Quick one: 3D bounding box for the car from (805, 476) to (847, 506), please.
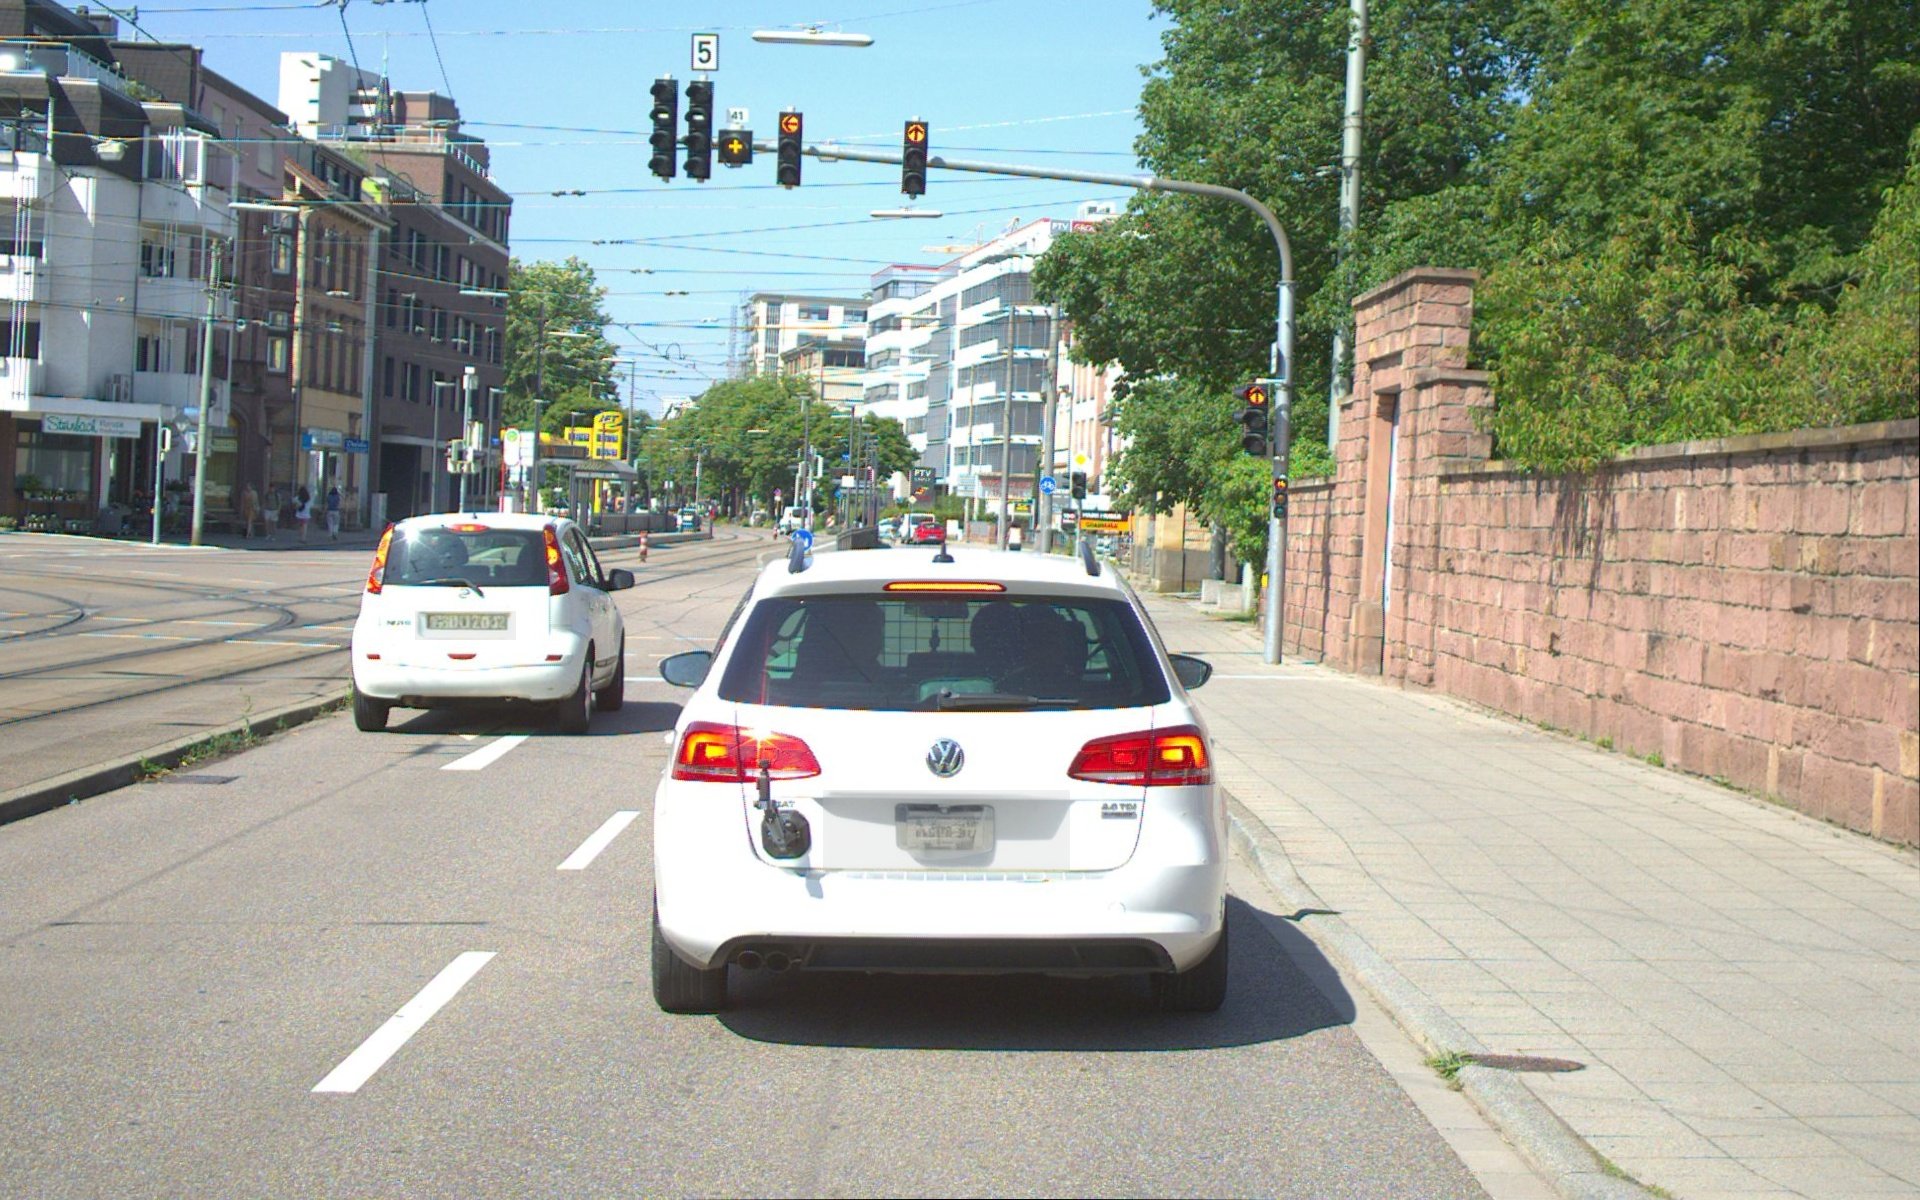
[{"bbox_3d":[-9.814,-8.011,251.777,1.993,2.006,4.002,4,1,-16],"label":"car"}]

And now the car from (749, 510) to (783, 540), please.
[{"bbox_3d":[-10.695,-4.138,189.719,1.698,1.585,3.535,2,1,-1],"label":"car"}]

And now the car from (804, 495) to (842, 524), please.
[{"bbox_3d":[-10.277,-6.760,256.735,1.993,2.007,4.002,2,1,-14],"label":"car"}]

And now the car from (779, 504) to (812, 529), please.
[{"bbox_3d":[-11.035,-5.626,230.182,1.698,1.585,3.536,2,1,-11],"label":"car"}]

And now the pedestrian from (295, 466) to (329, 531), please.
[{"bbox_3d":[-20.361,-3.184,108.083,0.936,2.007,0.991,2,1,-8],"label":"pedestrian"}]

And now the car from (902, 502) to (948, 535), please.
[{"bbox_3d":[-2.212,-5.140,216.378,1.993,2.007,4.002,2,1,-14],"label":"car"}]

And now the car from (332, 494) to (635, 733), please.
[{"bbox_3d":[-3.484,0.041,25.789,1.730,1.590,4.011,2,1,-1],"label":"car"}]

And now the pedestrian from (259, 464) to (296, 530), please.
[{"bbox_3d":[-21.085,-3.175,106.235,0.936,2.007,0.991,2,1,-5],"label":"pedestrian"}]

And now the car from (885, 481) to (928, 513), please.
[{"bbox_3d":[-3.602,-6.930,230.650,1.993,2.007,4.002,2,1,-14],"label":"car"}]

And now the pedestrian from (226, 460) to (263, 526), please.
[{"bbox_3d":[-22.073,-3.303,106.031,0.936,2.007,0.991,2,1,-4],"label":"pedestrian"}]

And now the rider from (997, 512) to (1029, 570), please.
[{"bbox_3d":[1.631,-1.828,105.575,0.891,1.722,2.204,2,1,0],"label":"rider"}]

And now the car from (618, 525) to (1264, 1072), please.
[{"bbox_3d":[-0.041,0.513,11.503,1.778,1.485,3.847,1,1,0],"label":"car"}]

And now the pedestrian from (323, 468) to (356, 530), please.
[{"bbox_3d":[-20.520,-3.325,113.642,0.936,2.007,0.991,2,1,-6],"label":"pedestrian"}]

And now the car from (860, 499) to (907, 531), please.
[{"bbox_3d":[-4.739,-5.277,212.992,1.993,1.897,4.002,2,1,-14],"label":"car"}]
